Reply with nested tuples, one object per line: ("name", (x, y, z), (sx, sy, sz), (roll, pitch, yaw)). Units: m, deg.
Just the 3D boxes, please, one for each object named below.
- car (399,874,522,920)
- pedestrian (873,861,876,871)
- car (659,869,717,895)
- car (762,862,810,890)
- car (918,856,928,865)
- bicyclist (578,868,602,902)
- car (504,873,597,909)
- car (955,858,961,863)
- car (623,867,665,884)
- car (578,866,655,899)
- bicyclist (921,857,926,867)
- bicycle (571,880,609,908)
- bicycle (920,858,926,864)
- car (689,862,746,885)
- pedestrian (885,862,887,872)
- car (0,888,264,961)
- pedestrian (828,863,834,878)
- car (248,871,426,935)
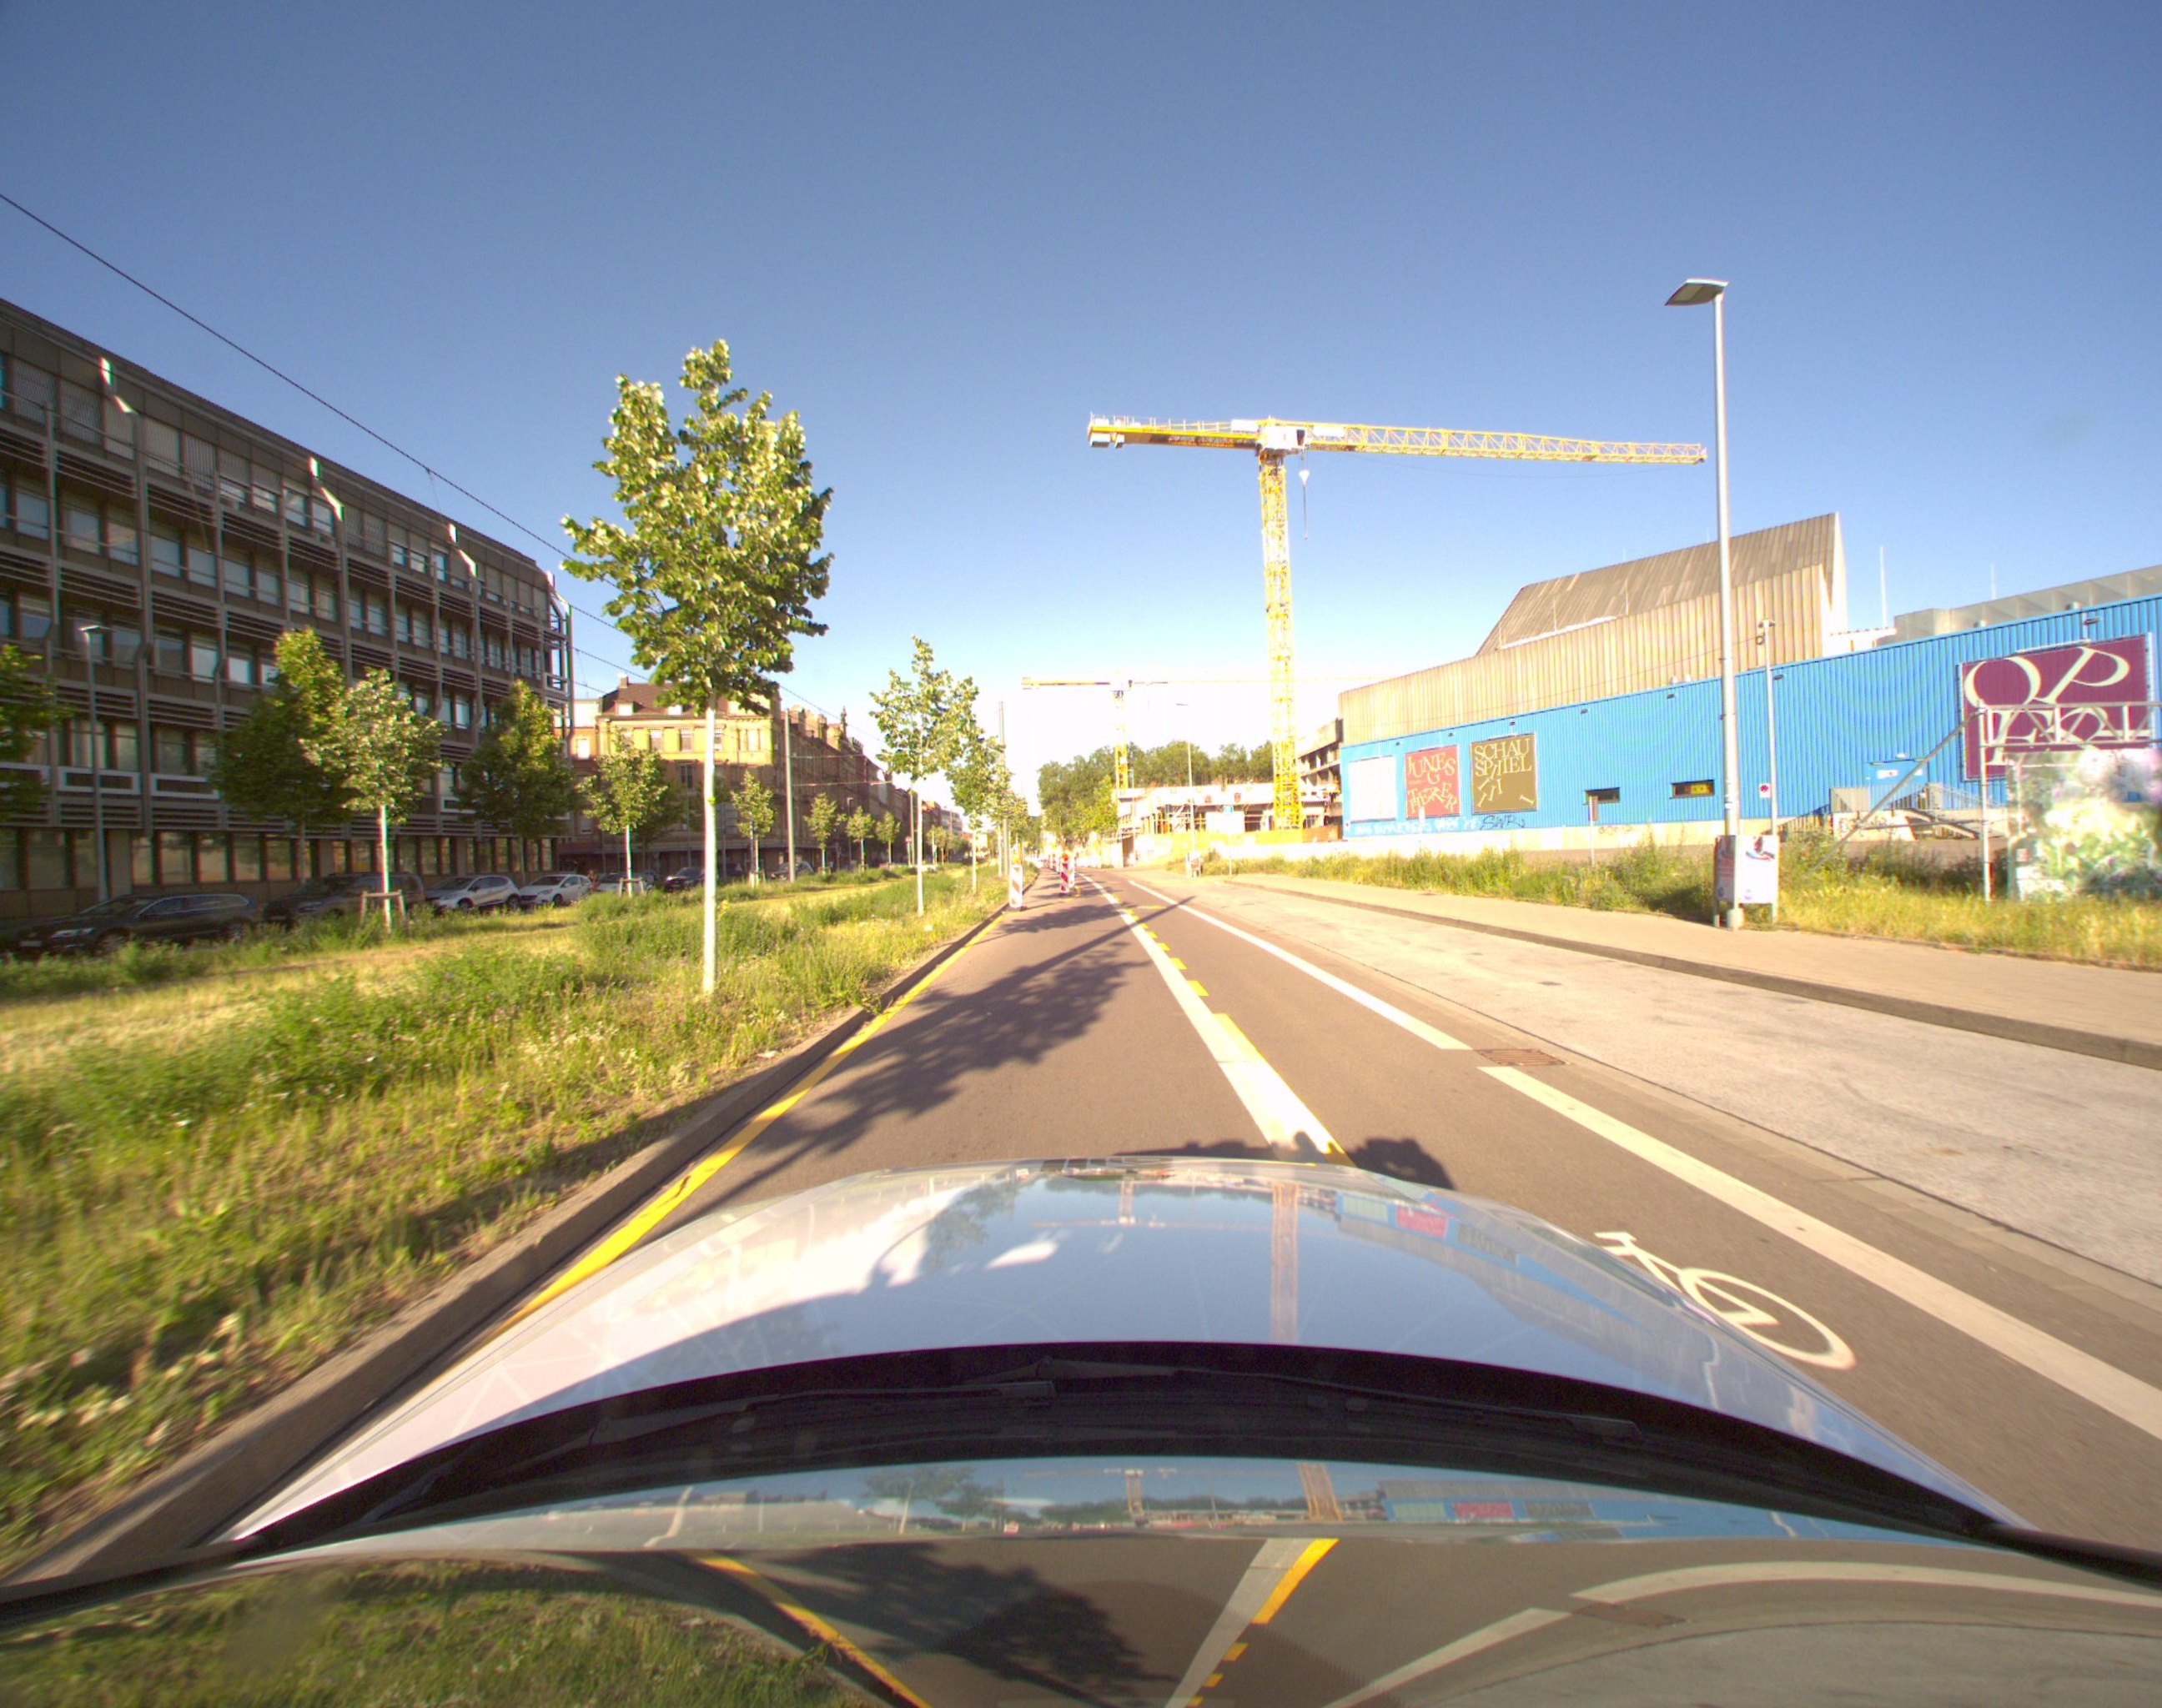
("car", (-24.229, 1.641, 31.969), (1.731, 1.536, 3.886), (-1, 0, 2))
("pedestrian", (-33.127, 1.988, 130.680), (0.403, 1.585, 0.425), (0, -1, -6))
("car", (-24.569, 1.721, 51.034), (1.725, 1.461, 3.899), (0, 0, -1))
("car", (-19.937, 1.450, 55.272), (1.722, 1.746, 4.120), (-2, 0, 0))
("car", (-31.234, 1.269, 160.987), (1.565, 1.562, 4.704), (-2, 0, -6))
("bicyclist", (-21.709, 1.369, 36.028), (0.563, 1.457, 0.706), (-3, 0, 0))
("car", (-24.134, 1.668, 37.199), (1.618, 1.441, 3.820), (-1, 0, 2))
("car", (-37.225, 2.063, 246.089), (1.592, 1.483, 3.617), (-1, 0, -4))
("car", (-40.831, 2.011, 76.092), (3.145, 1.468, 1.379), (-2, 0, -11))
("car", (-24.361, 1.458, 42.898), (1.643, 1.554, 3.968), (-2, 0, 2))
("bicyclist", (-25.951, 1.369, 133.998), (0.694, 1.657, 0.880), (-2, 0, -5))
("bicycle", (-21.694, 1.746, 36.011), (0.563, 1.096, 1.771), (-3, 0, 1))
("bicycle", (-25.925, 1.146, 133.537), (0.694, 0.978, 1.824), (-2, 0, -5))
("car", (-34.436, 1.831, 77.318), (4.511, 1.903, 1.891), (-2, 0, -11))
("pedestrian", (-34.092, 2.341, 142.473), (0.366, 1.765, 0.405), (0, -1, -6))
("car", (-24.439, 1.732, 21.198), (1.723, 1.469, 4.505), (0, 0, 1))
("pedestrian", (-30.044, 1.990, 97.882), (0.507, 1.765, 0.405), (0, -1, -6))
("car", (-24.293, 1.534, 26.842), (1.744, 1.771, 4.333), (-1, 0, 2))
